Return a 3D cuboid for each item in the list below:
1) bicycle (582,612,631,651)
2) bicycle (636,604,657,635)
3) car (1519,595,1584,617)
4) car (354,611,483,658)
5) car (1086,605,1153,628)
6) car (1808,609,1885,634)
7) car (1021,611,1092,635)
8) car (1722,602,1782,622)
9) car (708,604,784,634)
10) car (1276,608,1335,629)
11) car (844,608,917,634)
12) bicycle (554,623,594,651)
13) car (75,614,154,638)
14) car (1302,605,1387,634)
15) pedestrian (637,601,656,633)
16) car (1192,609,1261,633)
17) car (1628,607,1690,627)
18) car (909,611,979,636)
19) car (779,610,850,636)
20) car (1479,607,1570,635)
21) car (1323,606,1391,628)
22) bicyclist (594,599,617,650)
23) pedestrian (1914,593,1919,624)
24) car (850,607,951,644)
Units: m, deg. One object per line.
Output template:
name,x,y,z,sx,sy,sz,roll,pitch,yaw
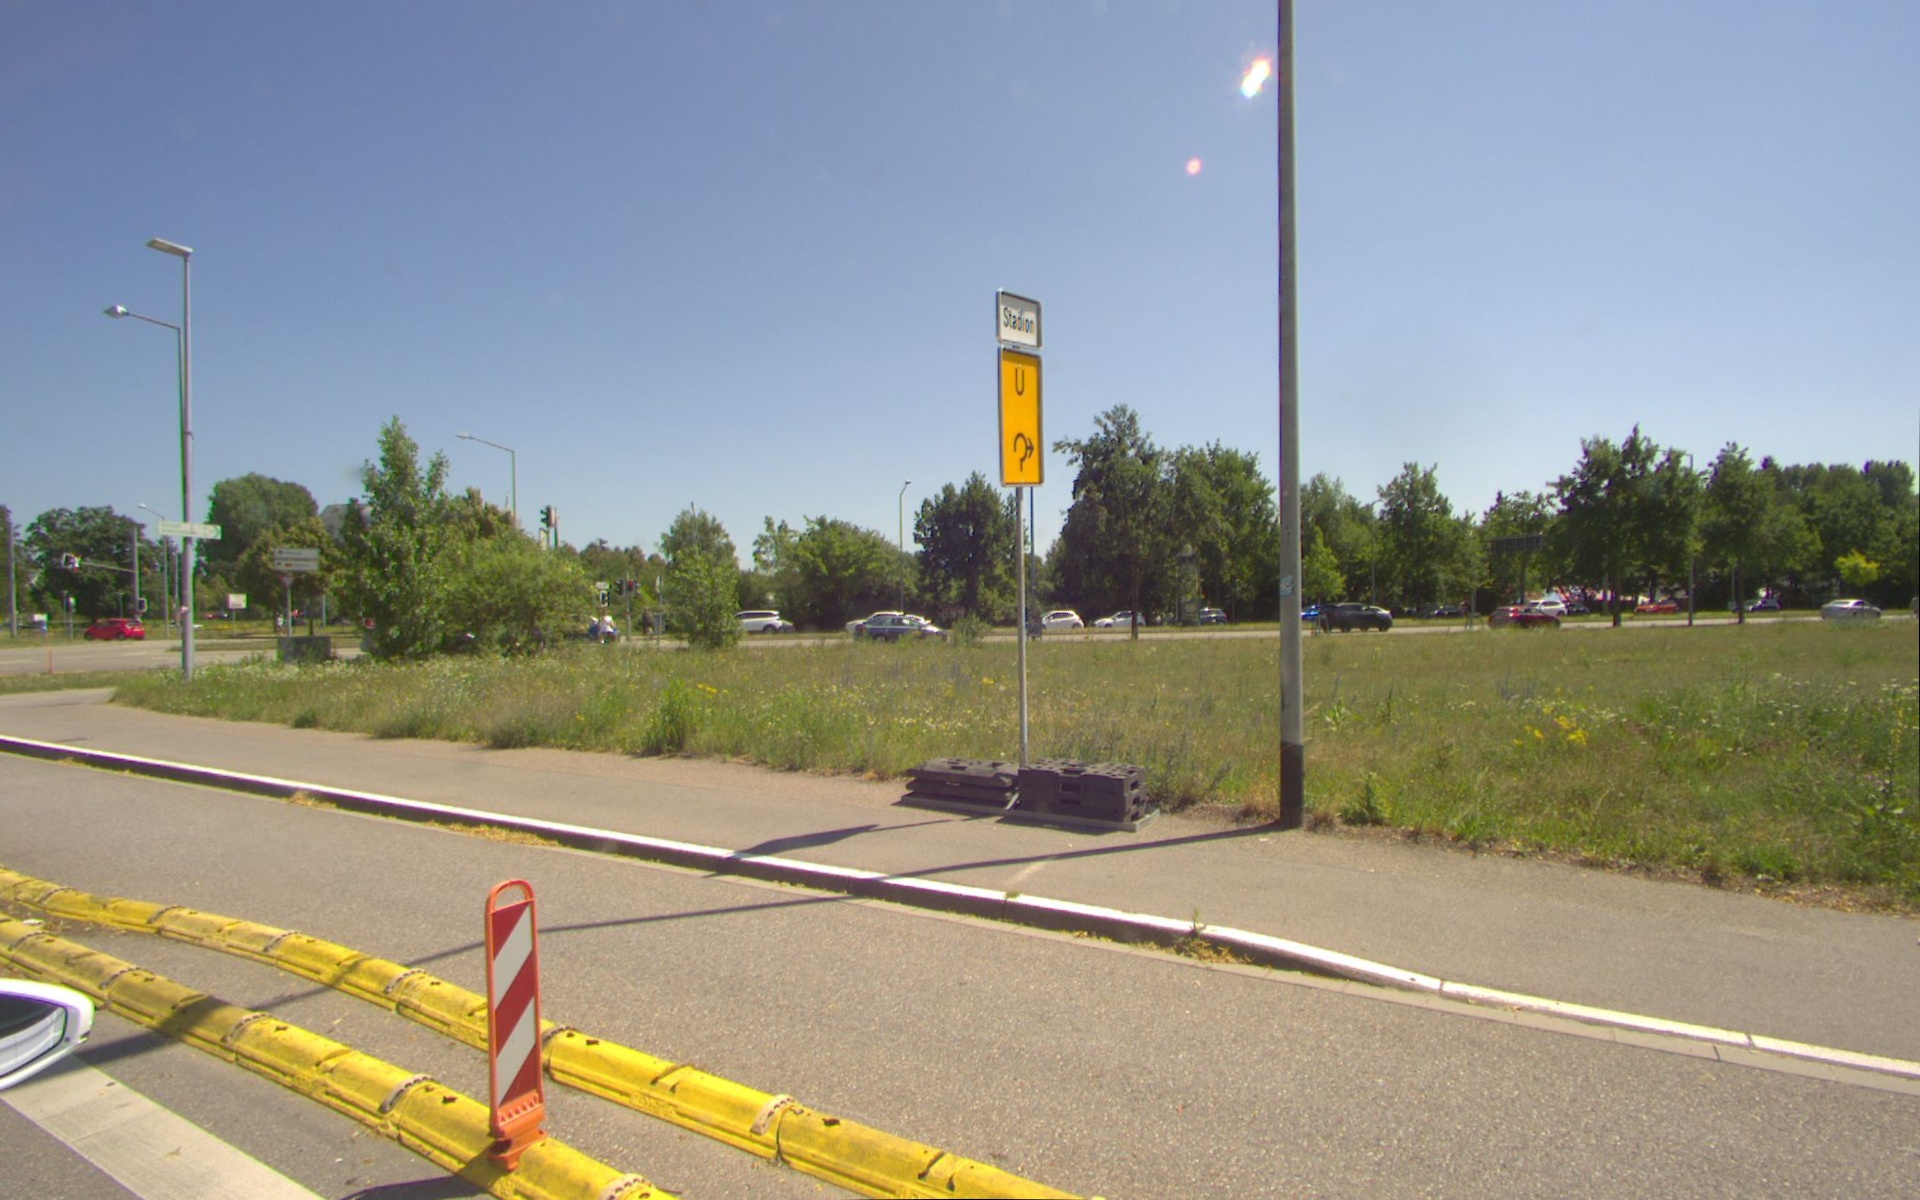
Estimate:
bicycle,-13.127,1.183,37.315,0.628,1.370,2.896,0,-2,4
bicycle,-16.751,1.058,53.550,0.967,1.617,2.879,0,-2,-16
car,45.950,0.509,77.778,4.366,1.612,1.846,0,-2,-17
car,-19.959,1.218,37.005,3.956,1.573,1.712,0,2,-41
car,11.372,1.173,71.296,4.365,1.613,1.845,0,0,-16
car,57.954,1.411,65.475,4.344,1.547,1.995,0,0,-20
car,6.421,1.548,66.594,4.366,1.612,1.846,0,-2,-16
car,67.370,1.029,85.185,4.366,1.612,1.846,0,-2,-16
car,-12.967,1.187,60.535,4.366,1.758,1.846,0,-2,-16
car,26.014,1.389,75.436,3.927,1.558,1.764,0,-2,-14
car,-5.039,1.350,63.268,4.366,1.612,1.846,0,-2,-16
bicycle,-12.705,1.224,32.995,0.362,0.895,1.594,0,-2,14
car,-60.343,1.865,71.513,4.263,1.675,1.901,0,-2,8
car,22.420,1.115,58.384,4.341,1.617,1.996,0,0,-17
pedestrian,-16.707,0.923,53.412,0.954,1.681,0.885,0,-1,-16
car,18.594,1.504,69.840,4.366,1.612,1.846,0,-2,-16
car,57.048,1.423,81.747,4.337,1.612,1.846,0,-2,-16
car,-1.084,1.580,67.298,4.366,1.612,1.846,0,-2,-16
car,-9.449,1.512,64.892,4.366,1.612,1.846,0,-2,-16
car,32.148,1.220,57.060,4.340,1.546,1.998,0,-2,-15
car,28.998,1.263,73.131,4.366,1.612,1.846,0,-2,-16
bicyclist,-13.150,0.920,37.153,0.597,1.864,0.572,0,-1,2
pedestrian,50.776,0.448,52.739,0.548,1.611,0.662,1,-1,-32
car,-2.763,1.132,46.078,4.340,1.617,1.996,0,1,-16
